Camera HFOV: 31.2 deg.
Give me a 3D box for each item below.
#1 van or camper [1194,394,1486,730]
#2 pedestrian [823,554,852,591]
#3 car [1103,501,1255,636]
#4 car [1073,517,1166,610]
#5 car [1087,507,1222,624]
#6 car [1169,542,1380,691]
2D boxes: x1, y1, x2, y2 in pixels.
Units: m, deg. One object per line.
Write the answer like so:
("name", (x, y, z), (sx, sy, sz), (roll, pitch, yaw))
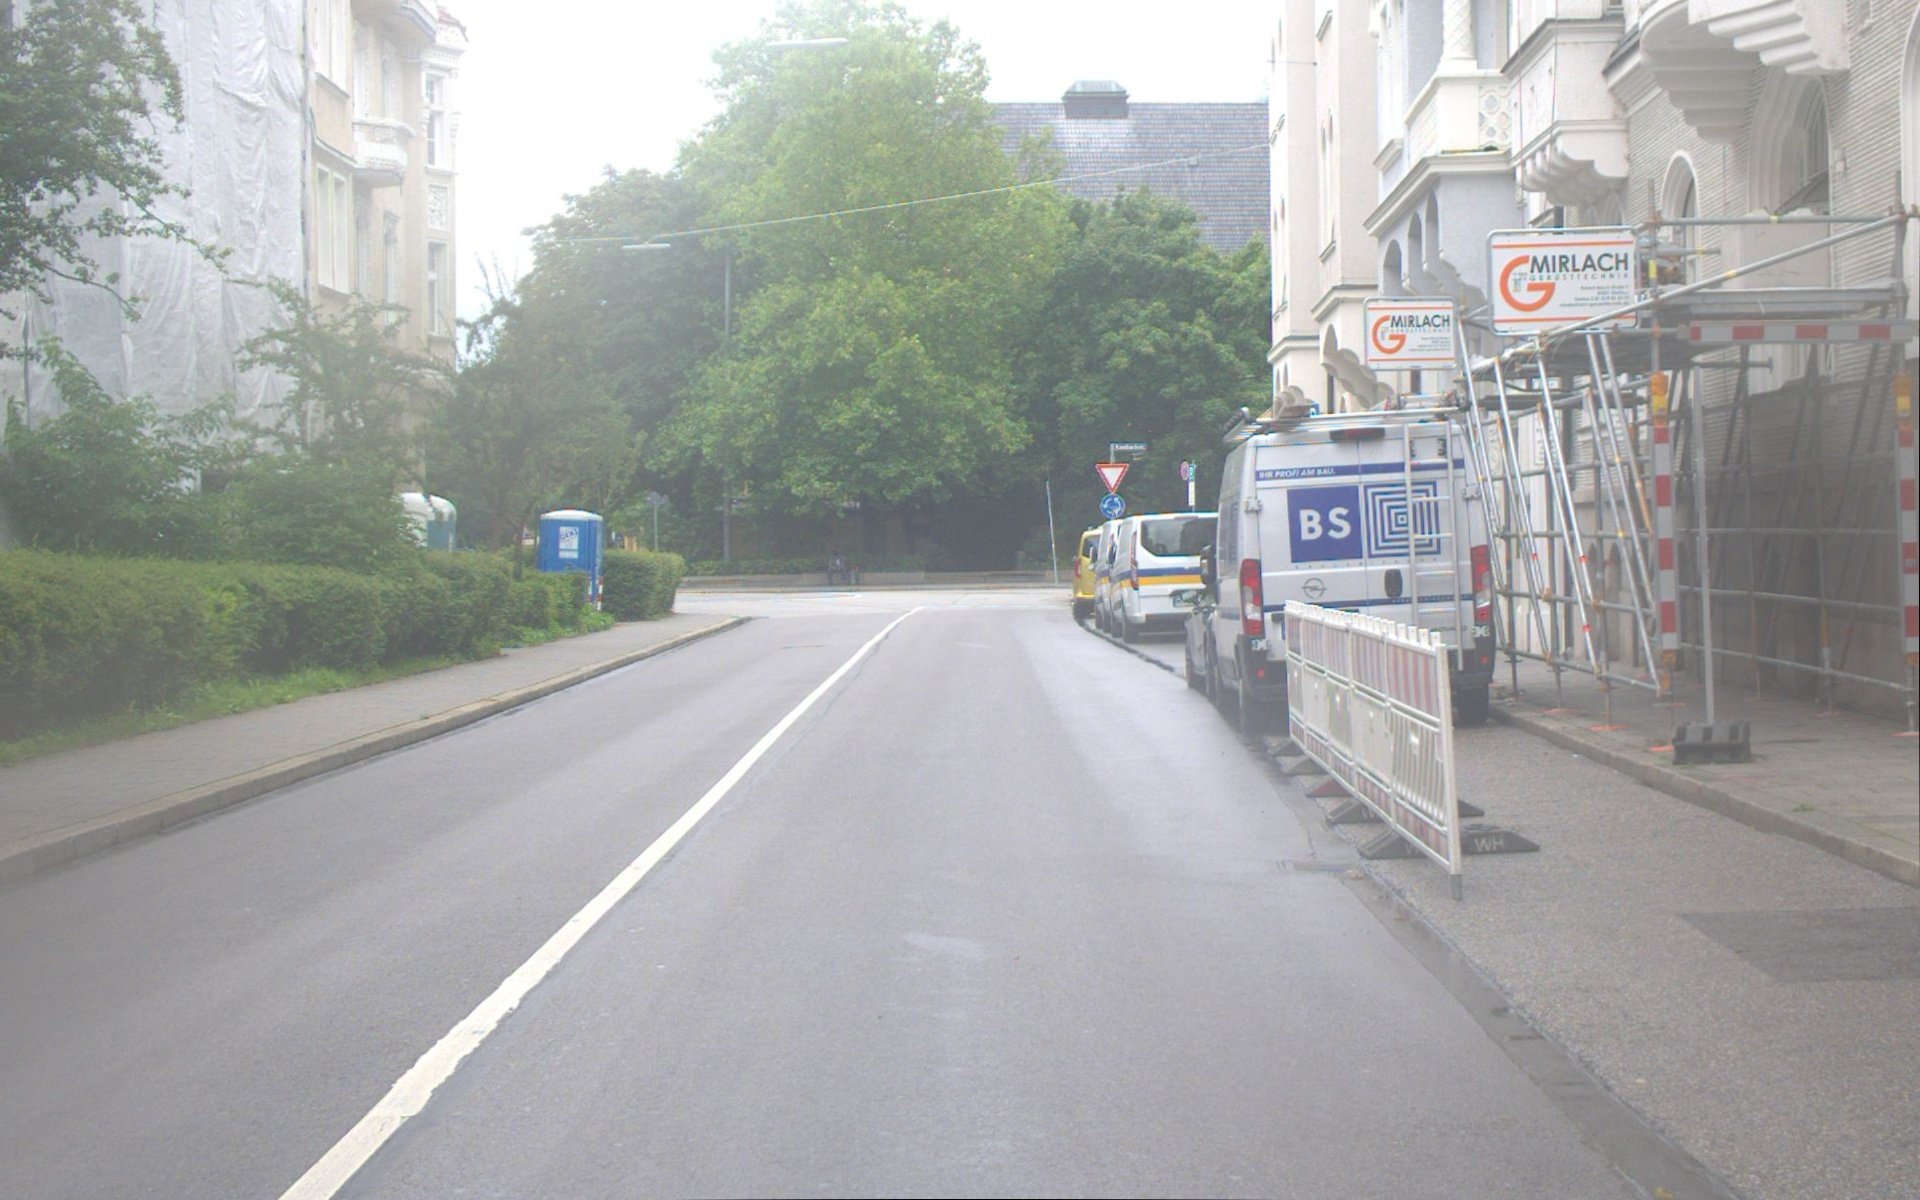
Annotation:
("van or camper", (3.200, -0.340, 29.999), (1.953, 2.628, 5.459), (-1, 1, 1))
("pedestrian", (-4.031, -0.912, 113.253), (0.812, 1.185, 0.919), (-1, 1, 7))
("car", (3.428, -0.527, 54.612), (1.959, 2.007, 4.993), (-1, 1, -1))
("car", (3.366, -0.793, 72.049), (1.850, 1.846, 4.820), (-1, 1, 3))
("car", (3.390, -0.630, 60.782), (1.959, 1.930, 4.993), (-1, 1, -1))
("car", (3.231, 0.128, 35.966), (1.753, 1.429, 4.087), (-1, 1, -1))
